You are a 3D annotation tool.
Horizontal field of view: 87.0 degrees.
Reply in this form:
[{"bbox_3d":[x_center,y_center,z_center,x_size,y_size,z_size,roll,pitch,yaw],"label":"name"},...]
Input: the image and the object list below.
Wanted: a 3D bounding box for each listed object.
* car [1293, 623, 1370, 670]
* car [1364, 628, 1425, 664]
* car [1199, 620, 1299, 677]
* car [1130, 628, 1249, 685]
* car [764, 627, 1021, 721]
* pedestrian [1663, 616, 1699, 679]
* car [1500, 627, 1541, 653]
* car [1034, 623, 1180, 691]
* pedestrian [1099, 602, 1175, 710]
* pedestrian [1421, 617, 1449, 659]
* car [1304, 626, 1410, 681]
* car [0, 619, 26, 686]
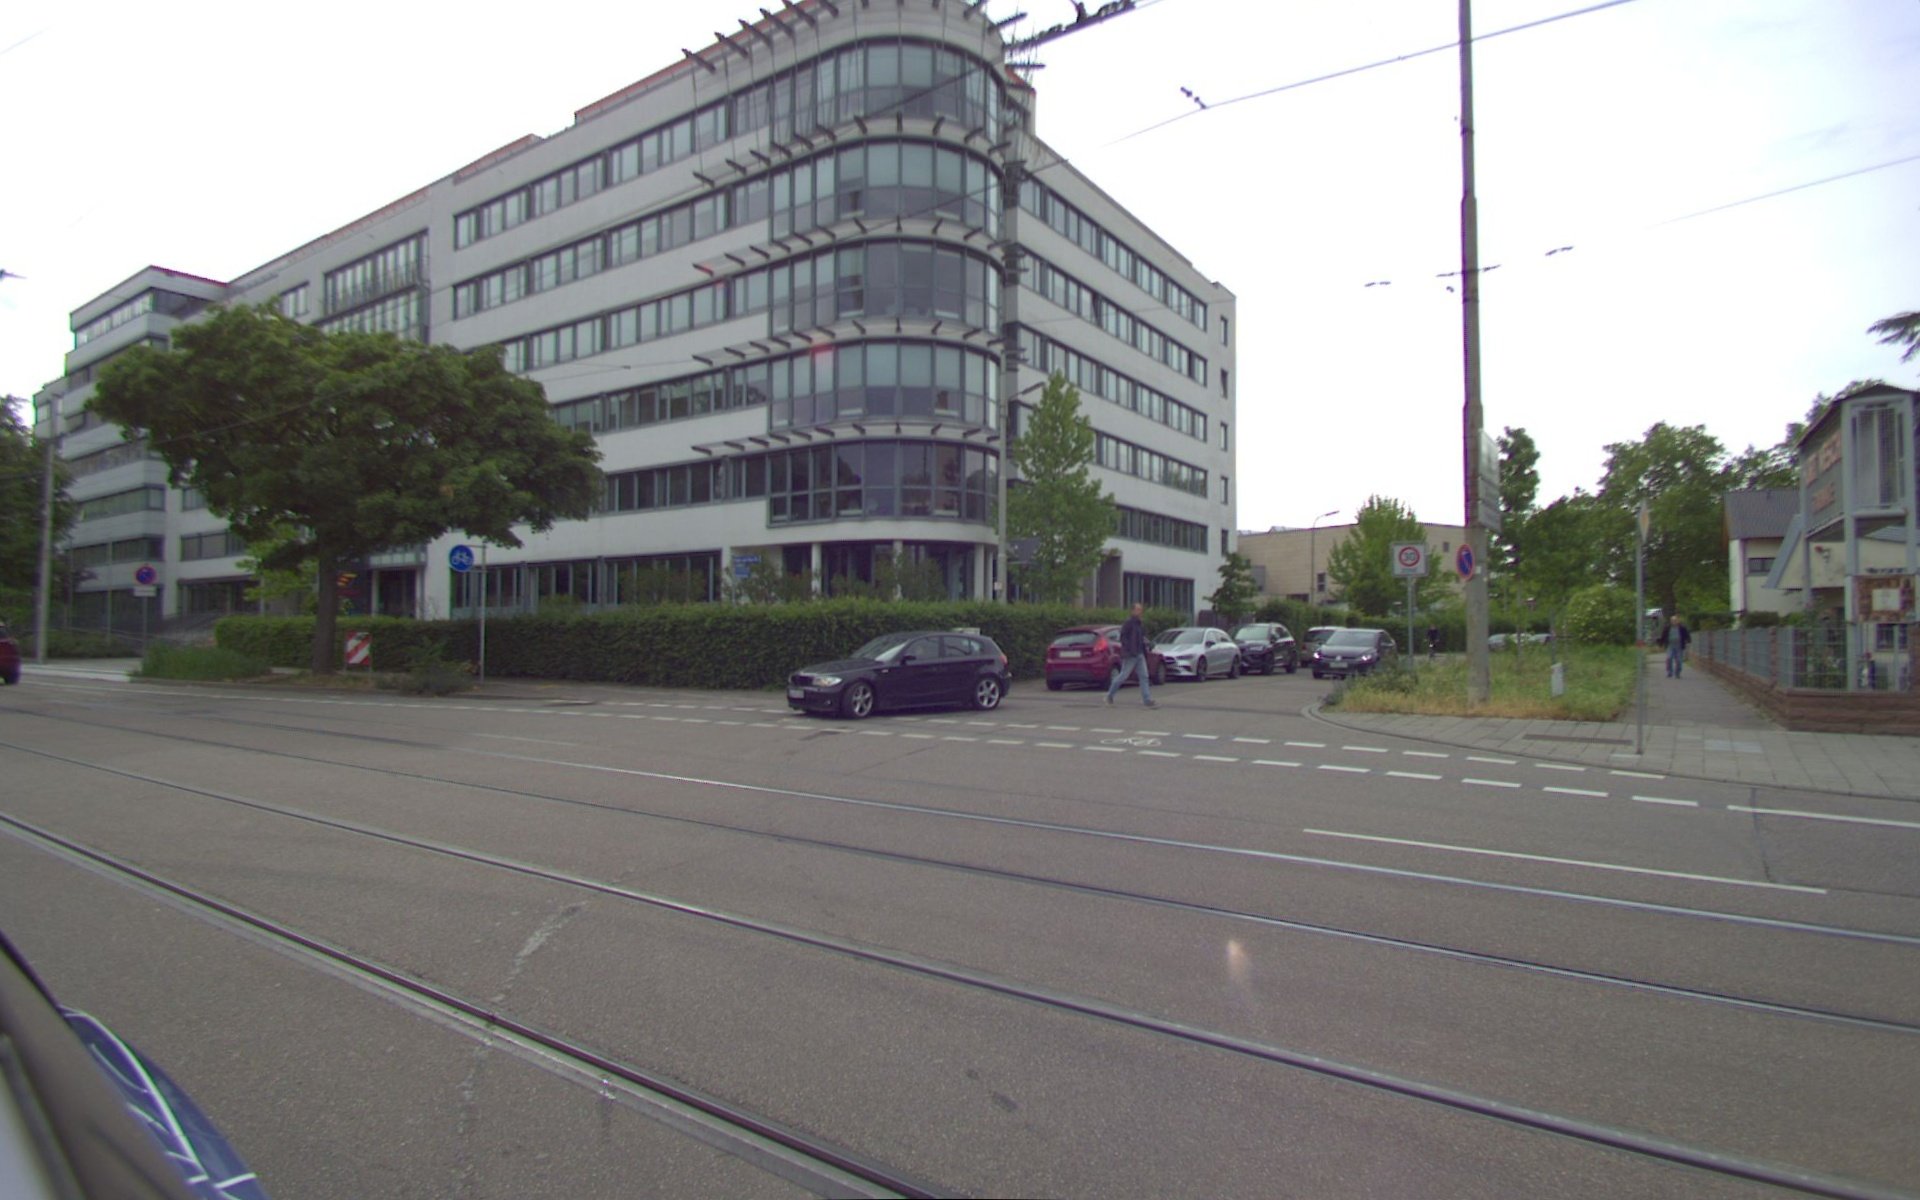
[{"bbox_3d":[14.629,1.792,39.761,1.885,1.694,3.791,-1,-1,36],"label":"car"},{"bbox_3d":[20.686,2.151,48.084,1.876,1.573,3.951,-1,-1,36],"label":"car"},{"bbox_3d":[9.171,1.469,31.905,1.994,1.663,3.956,-1,-2,32],"label":"car"},{"bbox_3d":[6.208,1.456,27.088,1.775,1.359,4.001,-1,-1,34],"label":"car"},{"bbox_3d":[-1.106,1.181,17.363,4.044,1.379,1.793,0,-1,-34],"label":"car"},{"bbox_3d":[20.888,1.350,29.322,0.761,1.787,0.627,-1,-1,41],"label":"pedestrian"},{"bbox_3d":[46.459,3.279,83.928,2.001,2.029,3.942,-1,-1,44],"label":"car"},{"bbox_3d":[3.475,1.265,23.426,1.722,1.433,3.971,-2,-2,35],"label":"car"},{"bbox_3d":[3.134,0.958,17.910,1.058,1.839,0.796,-1,-1,39],"label":"pedestrian"},{"bbox_3d":[23.564,1.892,50.244,1.181,2.029,1.207,-1,-3,23],"label":"pedestrian"},{"bbox_3d":[11.605,1.516,29.440,1.814,1.462,3.936,-1,-2,38],"label":"car"},{"bbox_3d":[-26.864,1.366,26.948,4.393,1.737,1.828,-1,-2,32],"label":"car"}]
